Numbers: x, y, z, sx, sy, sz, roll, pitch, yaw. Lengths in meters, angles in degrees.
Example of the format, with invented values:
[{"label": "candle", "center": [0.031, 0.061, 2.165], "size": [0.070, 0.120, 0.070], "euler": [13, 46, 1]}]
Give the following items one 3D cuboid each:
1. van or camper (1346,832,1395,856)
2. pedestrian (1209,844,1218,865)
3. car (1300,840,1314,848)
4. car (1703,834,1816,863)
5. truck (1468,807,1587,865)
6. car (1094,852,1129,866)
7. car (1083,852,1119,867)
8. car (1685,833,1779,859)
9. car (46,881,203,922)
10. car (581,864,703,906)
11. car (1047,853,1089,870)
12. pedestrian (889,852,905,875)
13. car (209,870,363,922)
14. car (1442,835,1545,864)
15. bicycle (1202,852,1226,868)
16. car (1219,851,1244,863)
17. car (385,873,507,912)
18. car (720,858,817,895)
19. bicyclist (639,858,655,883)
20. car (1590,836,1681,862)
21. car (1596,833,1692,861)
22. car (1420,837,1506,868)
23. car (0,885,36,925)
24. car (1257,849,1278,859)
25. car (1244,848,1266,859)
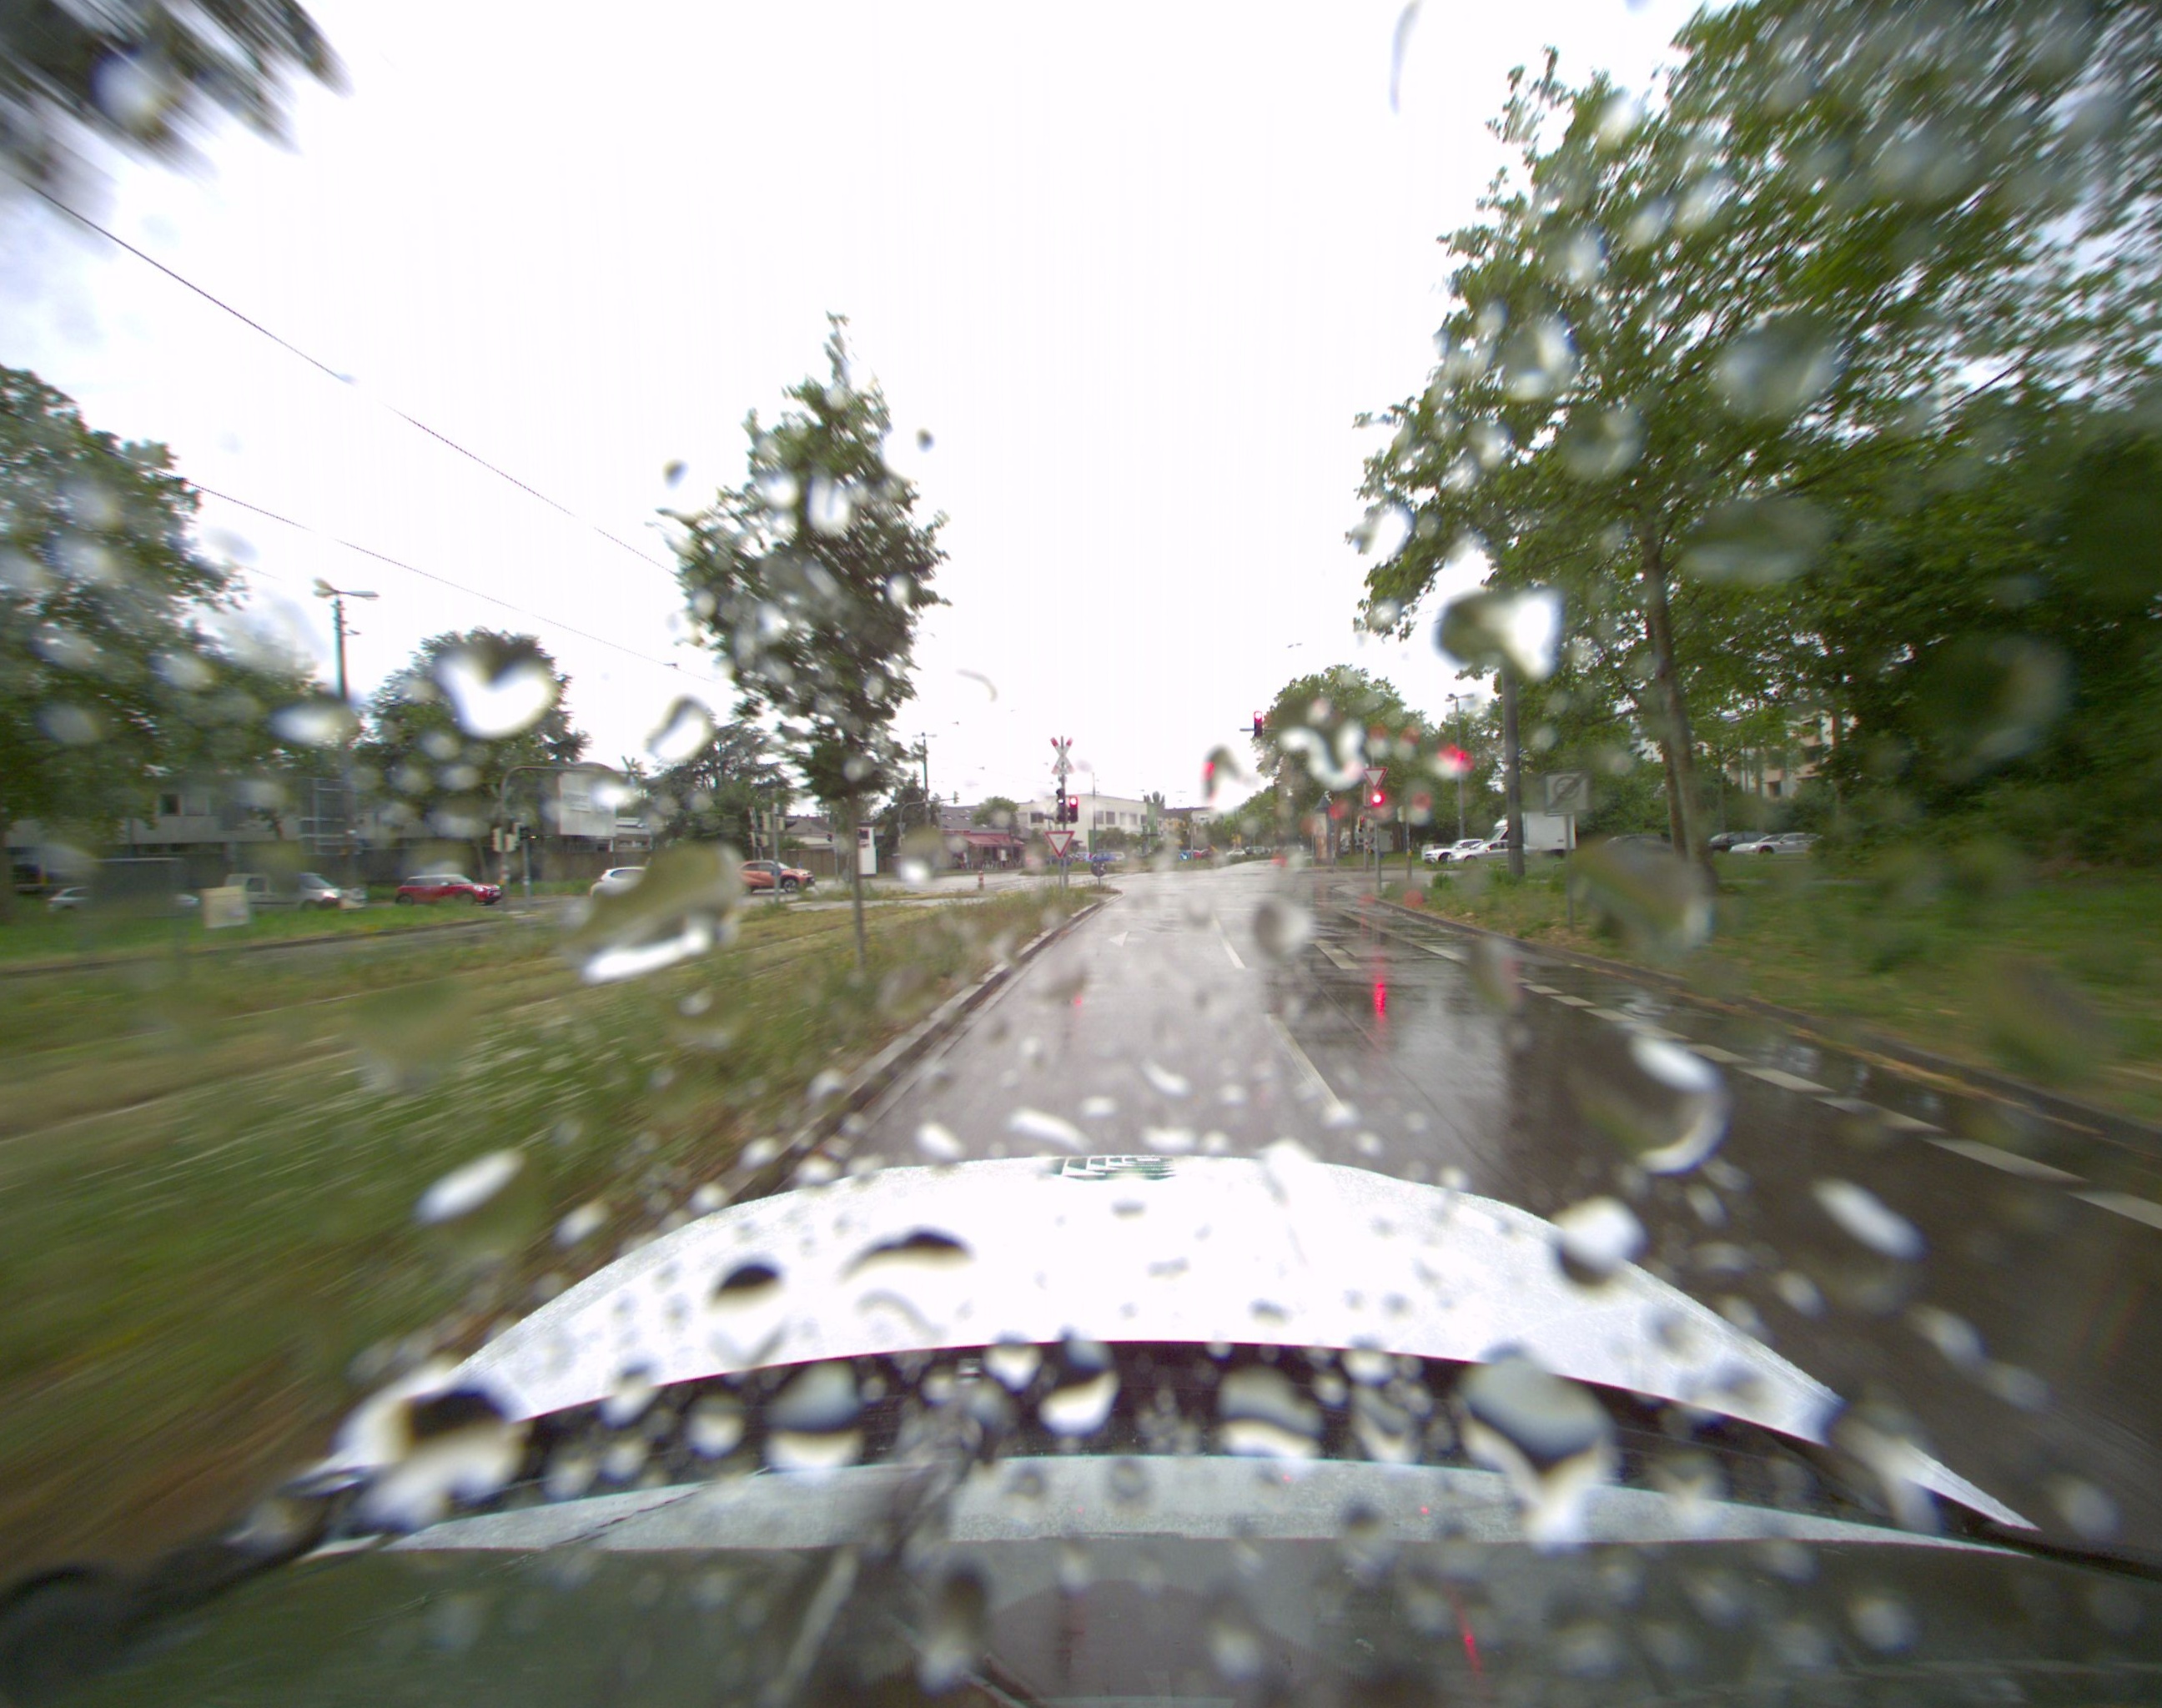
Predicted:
[{"label": "van or camper", "center": [33.401, -1.134, 94.109], "size": [5.173, 2.697, 2.256], "euler": [0, 1, 24]}, {"label": "pedestrian", "center": [9.427, 0.067, 57.936], "size": [0.573, 1.475, 0.500], "euler": [-2, 0, 2]}, {"label": "car", "center": [62.304, -2.793, 224.523], "size": [3.413, 2.014, 1.817], "euler": [-2, -1, 22]}, {"label": "car", "center": [37.107, -0.301, 44.646], "size": [4.643, 1.422, 1.766], "euler": [-2, 0, 2]}, {"label": "truck", "center": [24.827, -0.975, 45.401], "size": [5.447, 3.058, 1.982], "euler": [-2, -1, 2]}, {"label": "car", "center": [3.361, 0.576, 90.659], "size": [3.739, 1.442, 1.762], "euler": [-2, 0, -1]}, {"label": "car", "center": [2.160, 0.619, 87.467], "size": [3.739, 1.442, 1.762], "euler": [-2, 0, -1]}, {"label": "car", "center": [38.756, -0.478, 48.552], "size": [4.103, 1.422, 1.767], "euler": [-2, 0, 4]}, {"label": "car", "center": [-40.701, 2.008, 34.731], "size": [4.350, 1.455, 1.648], "euler": [-2, -1, -6]}, {"label": "car", "center": [-18.047, 1.262, 33.610], "size": [4.057, 1.499, 1.650], "euler": [-2, -1, -4]}, {"label": "car", "center": [-1.263, 0.739, 79.331], "size": [3.728, 1.442, 1.767], "euler": [-2, 0, 8]}, {"label": "pedestrian", "center": [-14.030, 0.734, 62.053], "size": [0.807, 1.763, 0.898], "euler": [-2, -1, -39]}, {"label": "car", "center": [-31.499, 1.634, 32.375], "size": [4.203, 1.796, 1.649], "euler": [-2, 1, -6]}, {"label": "car", "center": [21.380, -0.219, 42.347], "size": [4.495, 1.390, 1.645], "euler": [-2, 0, 2]}, {"label": "bicycle", "center": [9.461, 0.420, 57.925], "size": [1.555, 1.101, 0.500], "euler": [-2, 0, 2]}, {"label": "car", "center": [26.272, 0.515, 142.102], "size": [4.120, 1.860, 1.674], "euler": [-2, -1, 1]}, {"label": "car", "center": [-28.168, 1.684, 36.253], "size": [3.907, 1.498, 1.647], "euler": [-2, 1, -10]}, {"label": "car", "center": [-14.316, 1.005, 37.493], "size": [3.813, 1.499, 1.649], "euler": [-2, -1, -6]}, {"label": "bicyclist", "center": [-29.793, 1.140, 55.917], "size": [0.681, 1.683, 0.642], "euler": [-2, -1, 2]}, {"label": "car", "center": [33.303, -0.286, 48.956], "size": [4.181, 1.422, 1.768], "euler": [-2, 0, 4]}, {"label": "car", "center": [30.960, -0.357, 44.831], "size": [4.094, 1.390, 1.645], "euler": [-2, 0, 2]}, {"label": "car", "center": [23.128, -0.084, 49.395], "size": [4.446, 1.656, 1.652], "euler": [-2, -1, 0]}, {"label": "car", "center": [-43.149, 2.034, 30.907], "size": [4.350, 1.455, 1.648], "euler": [-2, -1, -6]}, {"label": "car", "center": [38.588, -0.039, 168.188], "size": [4.107, 1.860, 1.679], "euler": [-2, -1, 12]}, {"label": "car", "center": [34.022, -0.057, 159.346], "size": [4.107, 1.975, 1.679], "euler": [-2, -1, 12]}]
